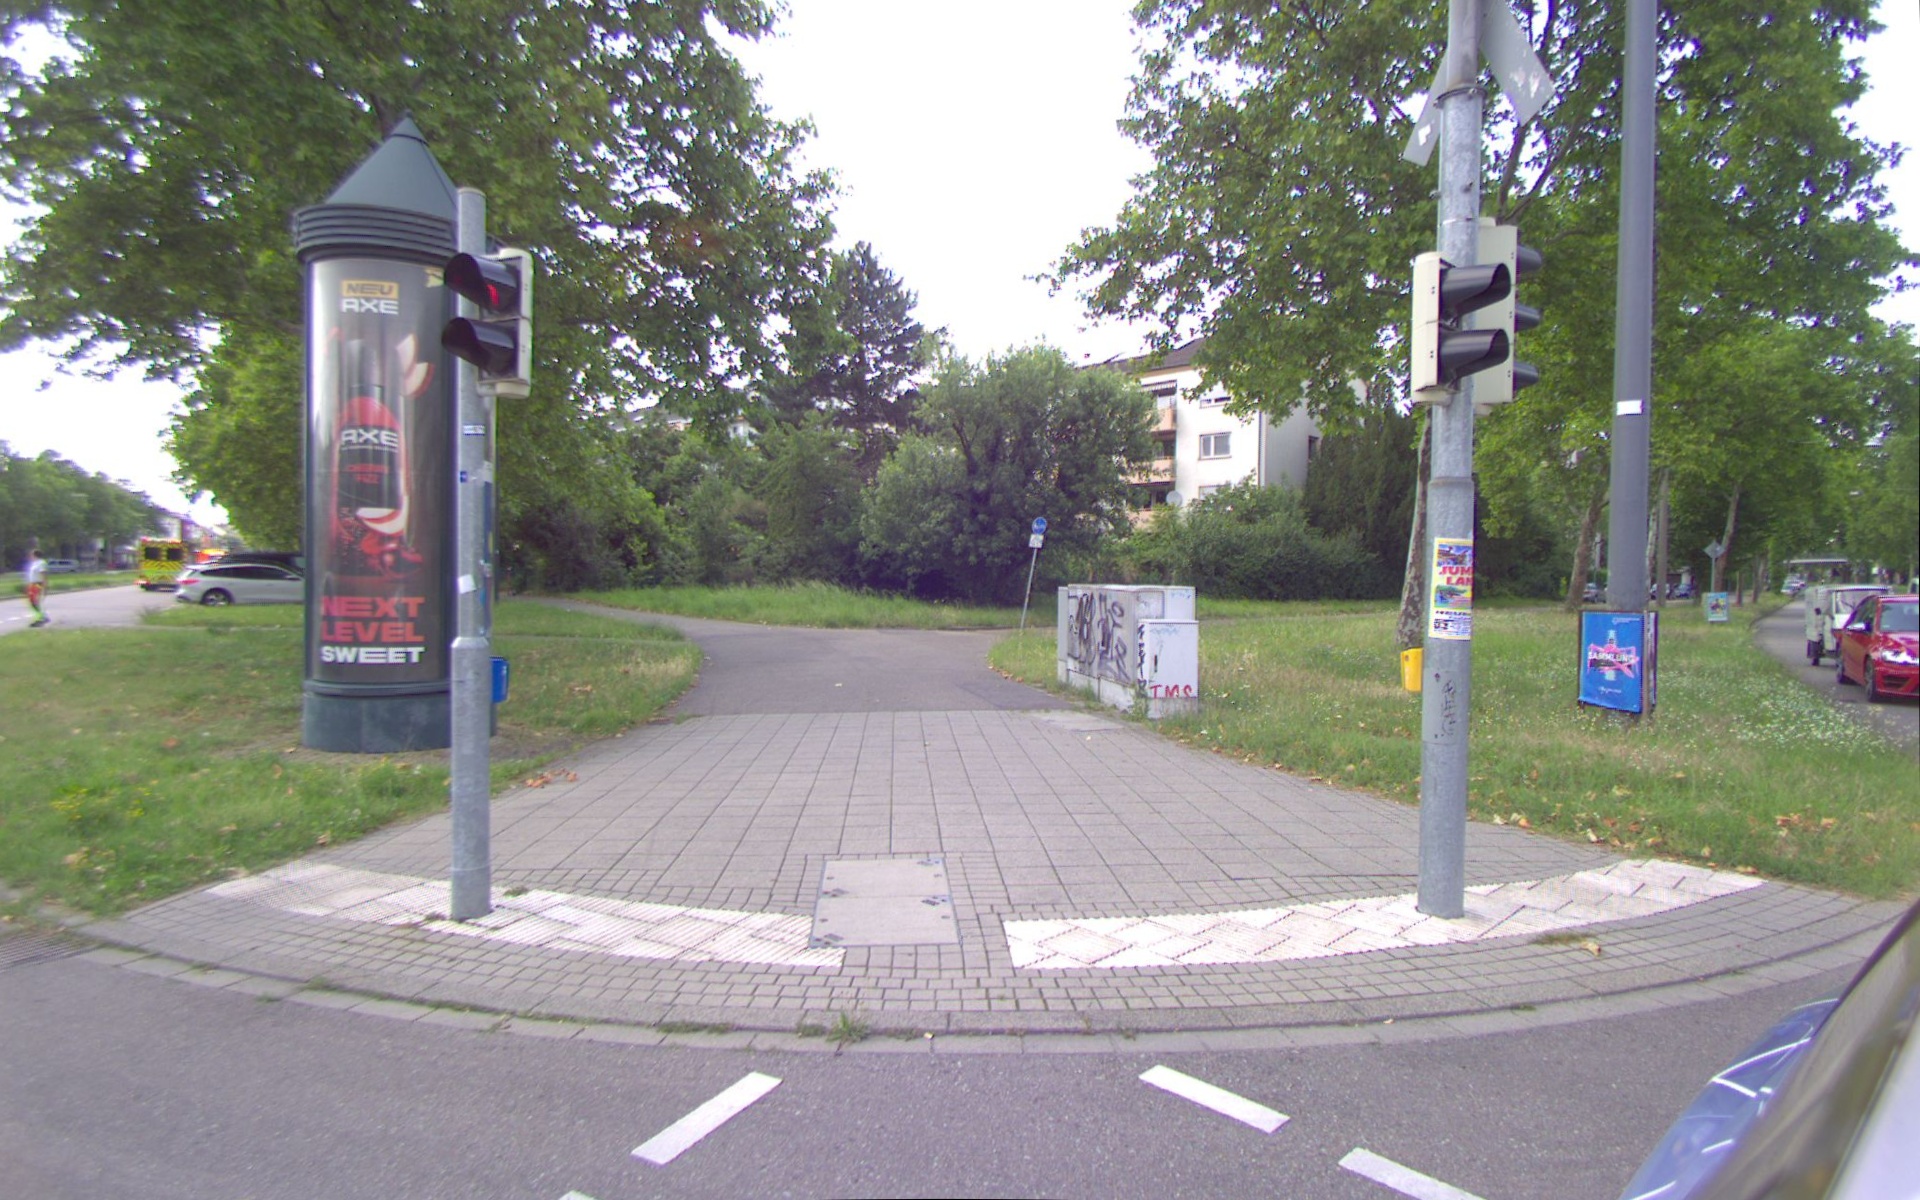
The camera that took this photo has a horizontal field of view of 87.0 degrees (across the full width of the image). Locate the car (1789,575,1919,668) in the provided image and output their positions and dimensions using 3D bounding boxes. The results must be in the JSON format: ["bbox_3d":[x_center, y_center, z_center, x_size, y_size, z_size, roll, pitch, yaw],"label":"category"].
[{"bbox_3d":[17.351,0.328,19.414,1.790,1.589,4.448,-1,1,34],"label":"car"}]

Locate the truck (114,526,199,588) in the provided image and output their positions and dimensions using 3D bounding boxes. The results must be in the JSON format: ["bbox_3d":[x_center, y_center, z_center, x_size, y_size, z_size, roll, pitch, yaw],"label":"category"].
[{"bbox_3d":[-46.596,-2.467,58.901,3.132,3.358,7.528,0,2,-33],"label":"truck"}]

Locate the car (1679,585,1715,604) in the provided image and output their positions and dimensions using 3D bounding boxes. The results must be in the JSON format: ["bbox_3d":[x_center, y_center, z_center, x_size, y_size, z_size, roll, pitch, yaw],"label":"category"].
[{"bbox_3d":[67.002,-0.462,91.998,3.591,1.616,1.775,2,0,-40],"label":"car"}]

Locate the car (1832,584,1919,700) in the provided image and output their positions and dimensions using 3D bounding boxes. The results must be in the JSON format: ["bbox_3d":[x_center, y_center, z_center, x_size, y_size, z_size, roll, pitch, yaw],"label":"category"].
[{"bbox_3d":[13.819,0.506,14.251,1.790,1.408,4.448,-1,1,34],"label":"car"}]

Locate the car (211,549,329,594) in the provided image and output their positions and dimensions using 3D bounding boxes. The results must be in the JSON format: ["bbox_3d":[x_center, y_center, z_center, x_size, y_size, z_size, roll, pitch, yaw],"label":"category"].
[{"bbox_3d":[-32.209,-1.325,47.411,4.469,2.039,2.001,-1,1,-33],"label":"car"}]

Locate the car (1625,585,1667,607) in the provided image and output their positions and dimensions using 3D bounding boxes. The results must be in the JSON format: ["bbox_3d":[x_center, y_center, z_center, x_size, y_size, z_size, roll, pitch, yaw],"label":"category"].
[{"bbox_3d":[53.608,-0.294,79.070,3.591,1.616,1.775,2,0,-40],"label":"car"}]

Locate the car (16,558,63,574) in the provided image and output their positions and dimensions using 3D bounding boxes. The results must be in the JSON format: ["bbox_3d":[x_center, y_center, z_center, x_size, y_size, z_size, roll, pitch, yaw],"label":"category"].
[{"bbox_3d":[-116.010,-4.242,127.630,1.802,1.861,3.966,2,0,24],"label":"car"}]

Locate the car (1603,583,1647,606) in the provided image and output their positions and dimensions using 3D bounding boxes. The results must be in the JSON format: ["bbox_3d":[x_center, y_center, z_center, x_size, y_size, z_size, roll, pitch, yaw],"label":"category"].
[{"bbox_3d":[50.210,-0.392,76.373,3.591,1.616,1.775,2,0,-40],"label":"car"}]

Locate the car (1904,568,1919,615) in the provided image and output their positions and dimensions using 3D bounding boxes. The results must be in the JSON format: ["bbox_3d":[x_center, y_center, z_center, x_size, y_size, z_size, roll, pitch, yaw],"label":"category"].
[{"bbox_3d":[35.058,-0.277,35.787,1.753,1.667,4.291,1,2,34],"label":"car"}]

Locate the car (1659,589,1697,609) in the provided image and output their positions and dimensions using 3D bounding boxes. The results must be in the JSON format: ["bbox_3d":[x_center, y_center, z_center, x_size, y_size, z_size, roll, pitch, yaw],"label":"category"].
[{"bbox_3d":[61.418,-0.071,86.588,3.591,1.616,1.775,2,0,-40],"label":"car"}]

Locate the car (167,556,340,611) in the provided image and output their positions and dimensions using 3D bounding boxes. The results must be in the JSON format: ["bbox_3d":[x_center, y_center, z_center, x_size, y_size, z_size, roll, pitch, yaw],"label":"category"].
[{"bbox_3d":[-22.716,-0.544,32.663,4.458,1.665,1.999,-1,1,-36],"label":"car"}]

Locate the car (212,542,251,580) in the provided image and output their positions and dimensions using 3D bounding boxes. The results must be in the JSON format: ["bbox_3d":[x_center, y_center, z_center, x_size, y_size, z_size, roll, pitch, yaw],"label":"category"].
[{"bbox_3d":[-70.472,-3.700,97.974,2.918,3.372,7.459,2,0,-35],"label":"car"}]

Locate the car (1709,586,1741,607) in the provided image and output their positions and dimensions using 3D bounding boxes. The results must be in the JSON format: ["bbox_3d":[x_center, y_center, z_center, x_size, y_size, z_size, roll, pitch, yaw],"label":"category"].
[{"bbox_3d":[74.882,-0.334,99.059,3.591,1.962,1.775,2,0,-40],"label":"car"}]

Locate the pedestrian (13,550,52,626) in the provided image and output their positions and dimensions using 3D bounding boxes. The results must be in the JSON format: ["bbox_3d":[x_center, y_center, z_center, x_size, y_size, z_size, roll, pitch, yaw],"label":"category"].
[{"bbox_3d":[-21.204,-0.272,23.142,0.576,1.705,0.494,0,0,-35],"label":"pedestrian"}]

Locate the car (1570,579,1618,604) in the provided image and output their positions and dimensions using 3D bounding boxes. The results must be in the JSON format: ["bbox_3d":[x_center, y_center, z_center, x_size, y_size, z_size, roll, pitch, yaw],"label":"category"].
[{"bbox_3d":[43.911,-0.572,70.098,3.591,1.616,1.775,2,0,-40],"label":"car"}]
